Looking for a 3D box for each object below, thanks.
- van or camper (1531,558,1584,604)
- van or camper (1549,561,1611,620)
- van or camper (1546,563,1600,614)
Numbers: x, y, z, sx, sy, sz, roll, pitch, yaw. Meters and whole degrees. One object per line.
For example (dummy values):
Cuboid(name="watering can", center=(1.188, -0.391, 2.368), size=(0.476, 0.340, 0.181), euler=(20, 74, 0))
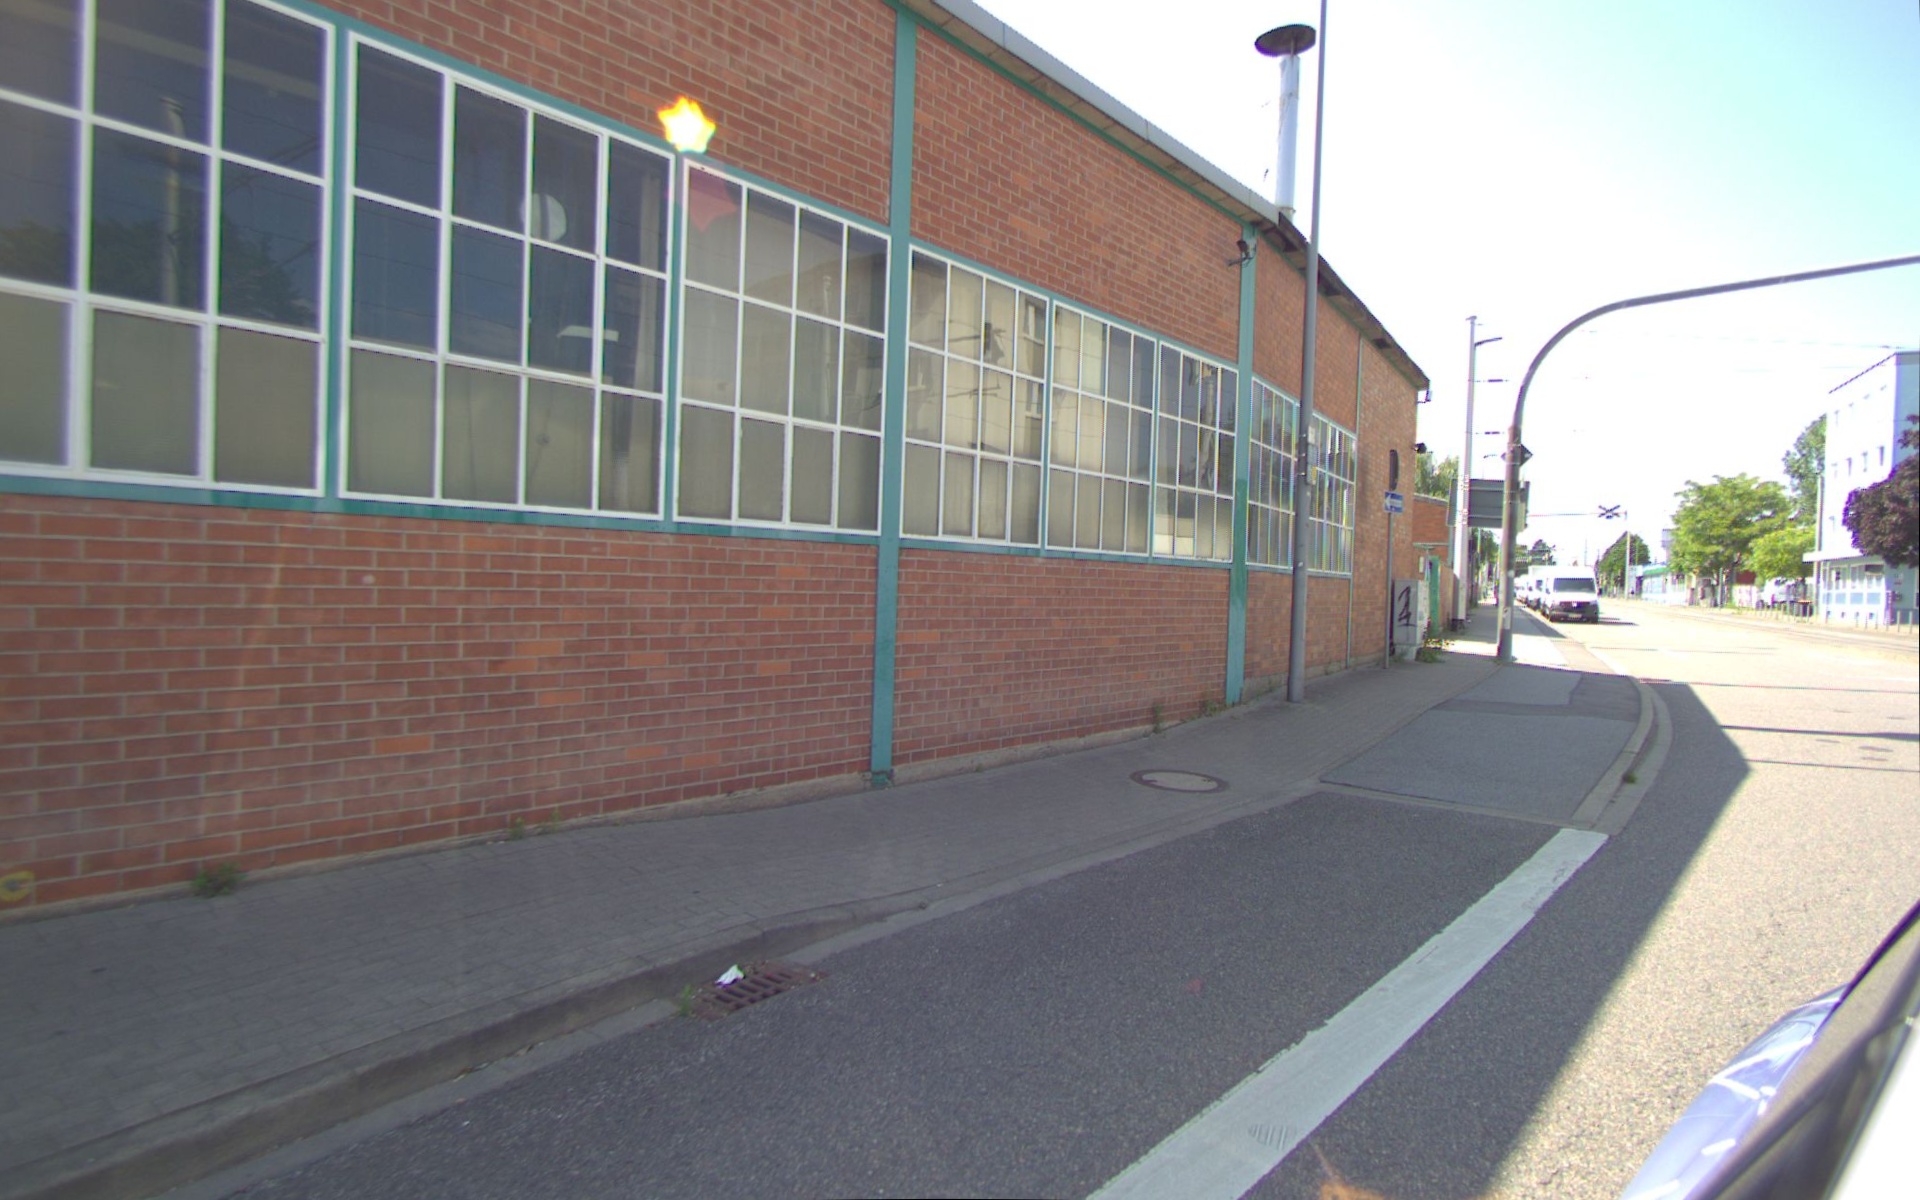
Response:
Cuboid(name="van or camper", center=(39.609, -1.284, 67.292), size=(2.501, 2.821, 7.049), euler=(2, 2, 27))
Cuboid(name="van or camper", center=(29.154, -0.483, 47.742), size=(2.025, 2.565, 5.812), euler=(2, 2, 28))
Cuboid(name="van or camper", center=(32.638, -0.636, 54.030), size=(2.025, 2.565, 5.528), euler=(2, 2, 28))
